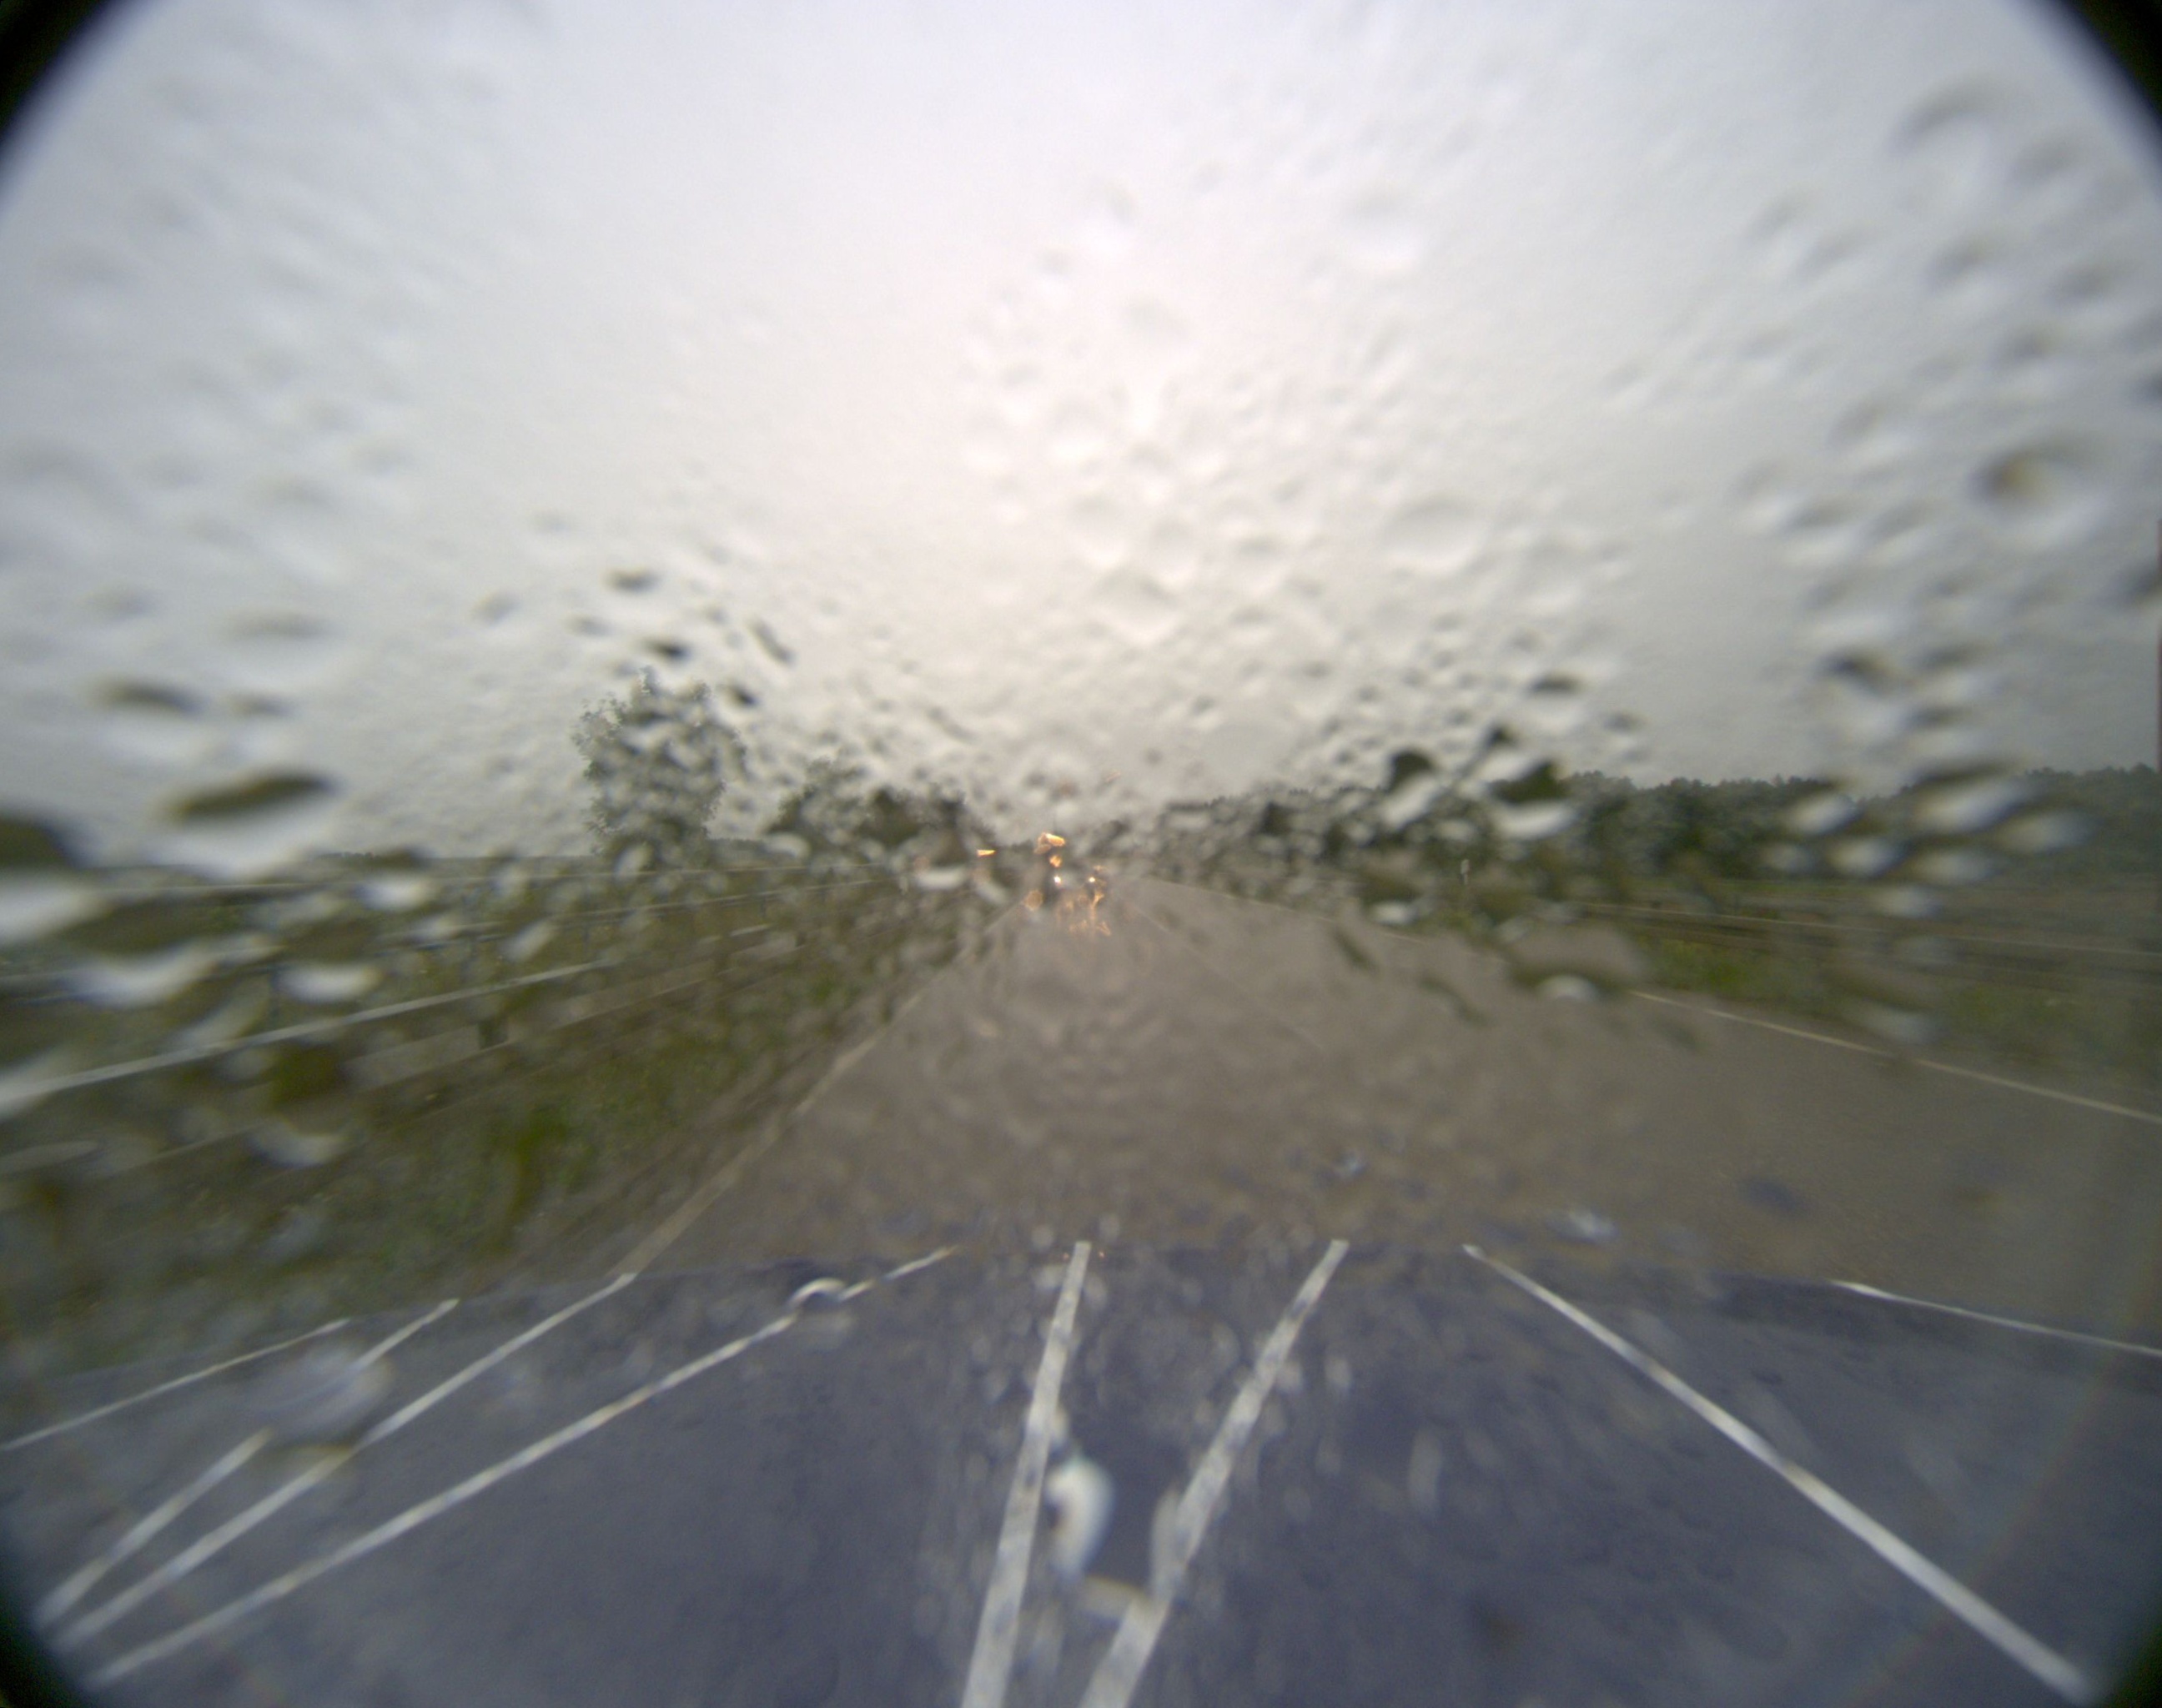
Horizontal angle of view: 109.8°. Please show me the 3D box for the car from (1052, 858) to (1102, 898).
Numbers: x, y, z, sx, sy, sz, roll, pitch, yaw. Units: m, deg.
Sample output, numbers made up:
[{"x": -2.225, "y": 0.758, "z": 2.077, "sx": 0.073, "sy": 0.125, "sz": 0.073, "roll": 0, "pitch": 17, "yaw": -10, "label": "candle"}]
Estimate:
[{"x": -0.154, "y": 0.926, "z": 31.014, "sx": 1.819, "sy": 1.382, "sz": 4.068, "roll": -3, "pitch": 1, "yaw": 0, "label": "car"}]
